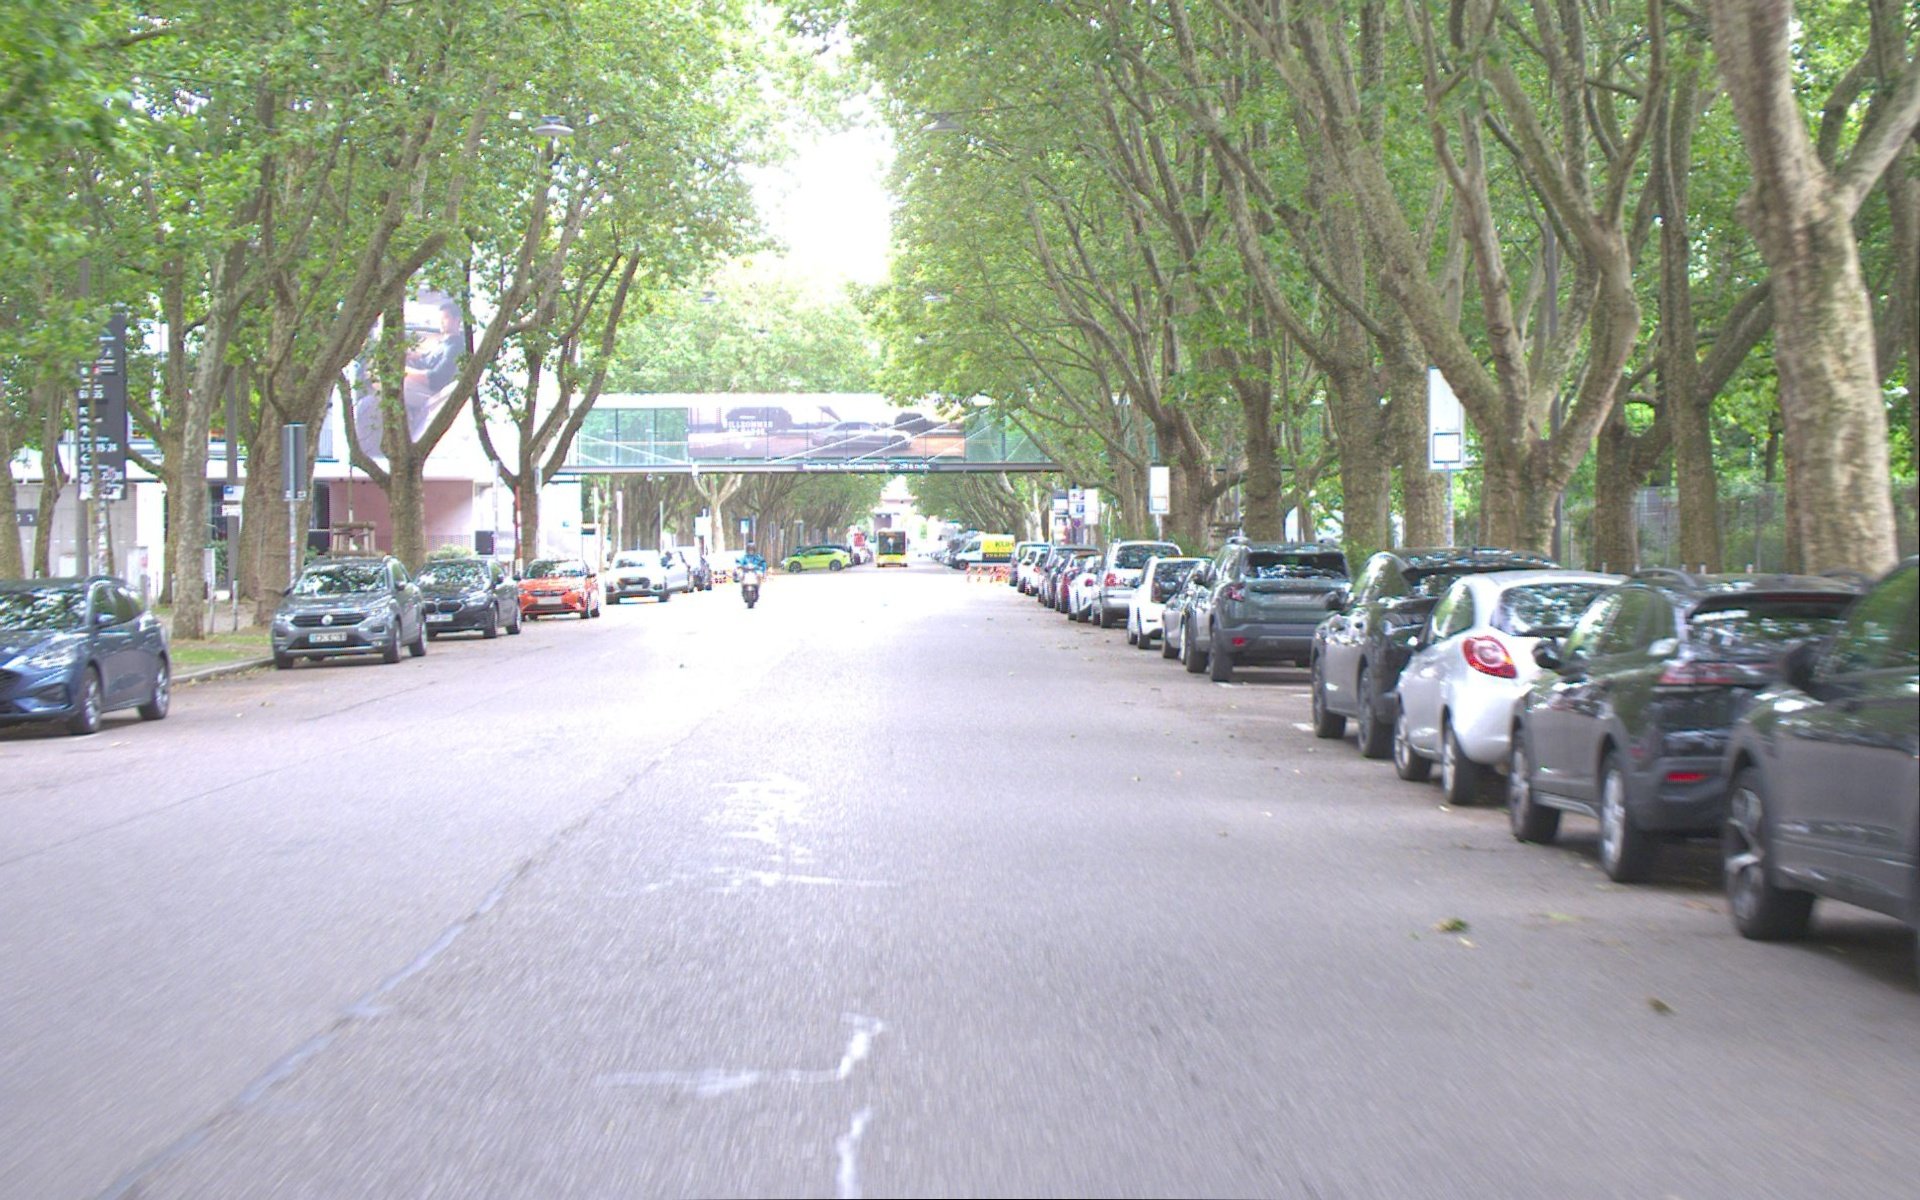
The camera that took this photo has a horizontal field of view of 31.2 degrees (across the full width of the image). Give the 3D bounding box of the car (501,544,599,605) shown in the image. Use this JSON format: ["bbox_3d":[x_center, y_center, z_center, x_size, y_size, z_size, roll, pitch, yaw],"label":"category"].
[{"bbox_3d":[-9.465,-0.604,79.647,1.808,1.349,4.000,0,1,0],"label":"car"}]

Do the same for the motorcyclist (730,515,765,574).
[{"bbox_3d":[-5.420,-1.413,87.602,0.870,1.475,1.265,0,1,-4],"label":"motorcyclist"}]

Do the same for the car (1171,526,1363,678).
[{"bbox_3d":[3.657,-0.025,41.693,1.707,1.692,4.631,2,1,-2],"label":"car"}]

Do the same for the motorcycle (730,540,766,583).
[{"bbox_3d":[-5.411,-0.994,87.605,0.873,1.075,3.053,0,1,-4],"label":"motorcycle"}]

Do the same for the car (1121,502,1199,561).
[{"bbox_3d":[5.426,-1.879,93.556,1.802,1.550,4.001,0,2,-1],"label":"car"}]

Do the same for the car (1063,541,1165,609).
[{"bbox_3d":[3.270,-0.560,73.876,1.877,1.422,4.586,0,1,-1],"label":"car"}]

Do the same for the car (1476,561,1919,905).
[{"bbox_3d":[3.897,0.590,17.962,1.668,1.504,4.354,2,1,0],"label":"car"}]

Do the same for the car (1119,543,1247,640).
[{"bbox_3d":[3.490,-0.159,54.417,1.707,1.422,3.889,1,1,-1],"label":"car"}]

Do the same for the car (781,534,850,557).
[{"bbox_3d":[-9.972,-3.760,237.693,4.700,1.579,1.864,0,1,1],"label":"car"}]

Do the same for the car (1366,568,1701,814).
[{"bbox_3d":[3.797,0.552,23.323,1.616,1.436,3.710,2,1,0],"label":"car"}]

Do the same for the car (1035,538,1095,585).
[{"bbox_3d":[3.434,-1.256,113.163,1.807,1.521,4.096,0,1,0],"label":"car"}]

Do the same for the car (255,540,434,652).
[{"bbox_3d":[-8.970,-0.092,50.414,1.878,1.521,4.151,-1,1,0],"label":"car"}]

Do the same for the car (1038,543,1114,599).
[{"bbox_3d":[3.068,-0.790,91.726,1.877,1.422,4.480,0,1,0],"label":"car"}]

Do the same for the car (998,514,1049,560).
[{"bbox_3d":[2.532,-2.519,137.695,1.847,1.777,5.211,1,1,0],"label":"car"}]

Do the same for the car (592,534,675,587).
[{"bbox_3d":[-9.870,-1.224,104.289,2.073,1.557,4.756,0,1,0],"label":"car"}]

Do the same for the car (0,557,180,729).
[{"bbox_3d":[-8.782,0.349,32.693,1.724,1.481,4.575,0,1,-1],"label":"car"}]

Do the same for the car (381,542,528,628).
[{"bbox_3d":[-9.067,-0.301,62.010,1.827,1.460,4.627,-1,1,2],"label":"car"}]

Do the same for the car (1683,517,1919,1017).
[{"bbox_3d":[3.991,0.540,12.376,1.755,1.614,4.439,2,1,0],"label":"car"}]

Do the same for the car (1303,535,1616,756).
[{"bbox_3d":[4.003,0.305,28.292,1.777,1.667,4.638,0,1,-2],"label":"car"}]

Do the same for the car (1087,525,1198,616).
[{"bbox_3d":[3.575,-0.606,68.143,1.903,1.733,4.507,0,1,-1],"label":"car"}]

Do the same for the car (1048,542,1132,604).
[{"bbox_3d":[3.195,-0.692,85.053,1.856,1.476,4.178,0,1,-1],"label":"car"}]

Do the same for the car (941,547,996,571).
[{"bbox_3d":[0.631,-3.071,255.308,3.987,1.788,1.543,0,1,-1],"label":"car"}]

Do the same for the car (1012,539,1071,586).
[{"bbox_3d":[2.842,-1.313,120.850,1.914,1.612,4.749,0,1,0],"label":"car"}]

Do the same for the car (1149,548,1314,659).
[{"bbox_3d":[3.693,0.010,47.467,1.707,1.410,4.362,1,1,-3],"label":"car"}]

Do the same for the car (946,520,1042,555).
[{"bbox_3d":[2.407,-4.499,247.662,6.822,2.505,2.317,0,1,-2],"label":"car"}]
